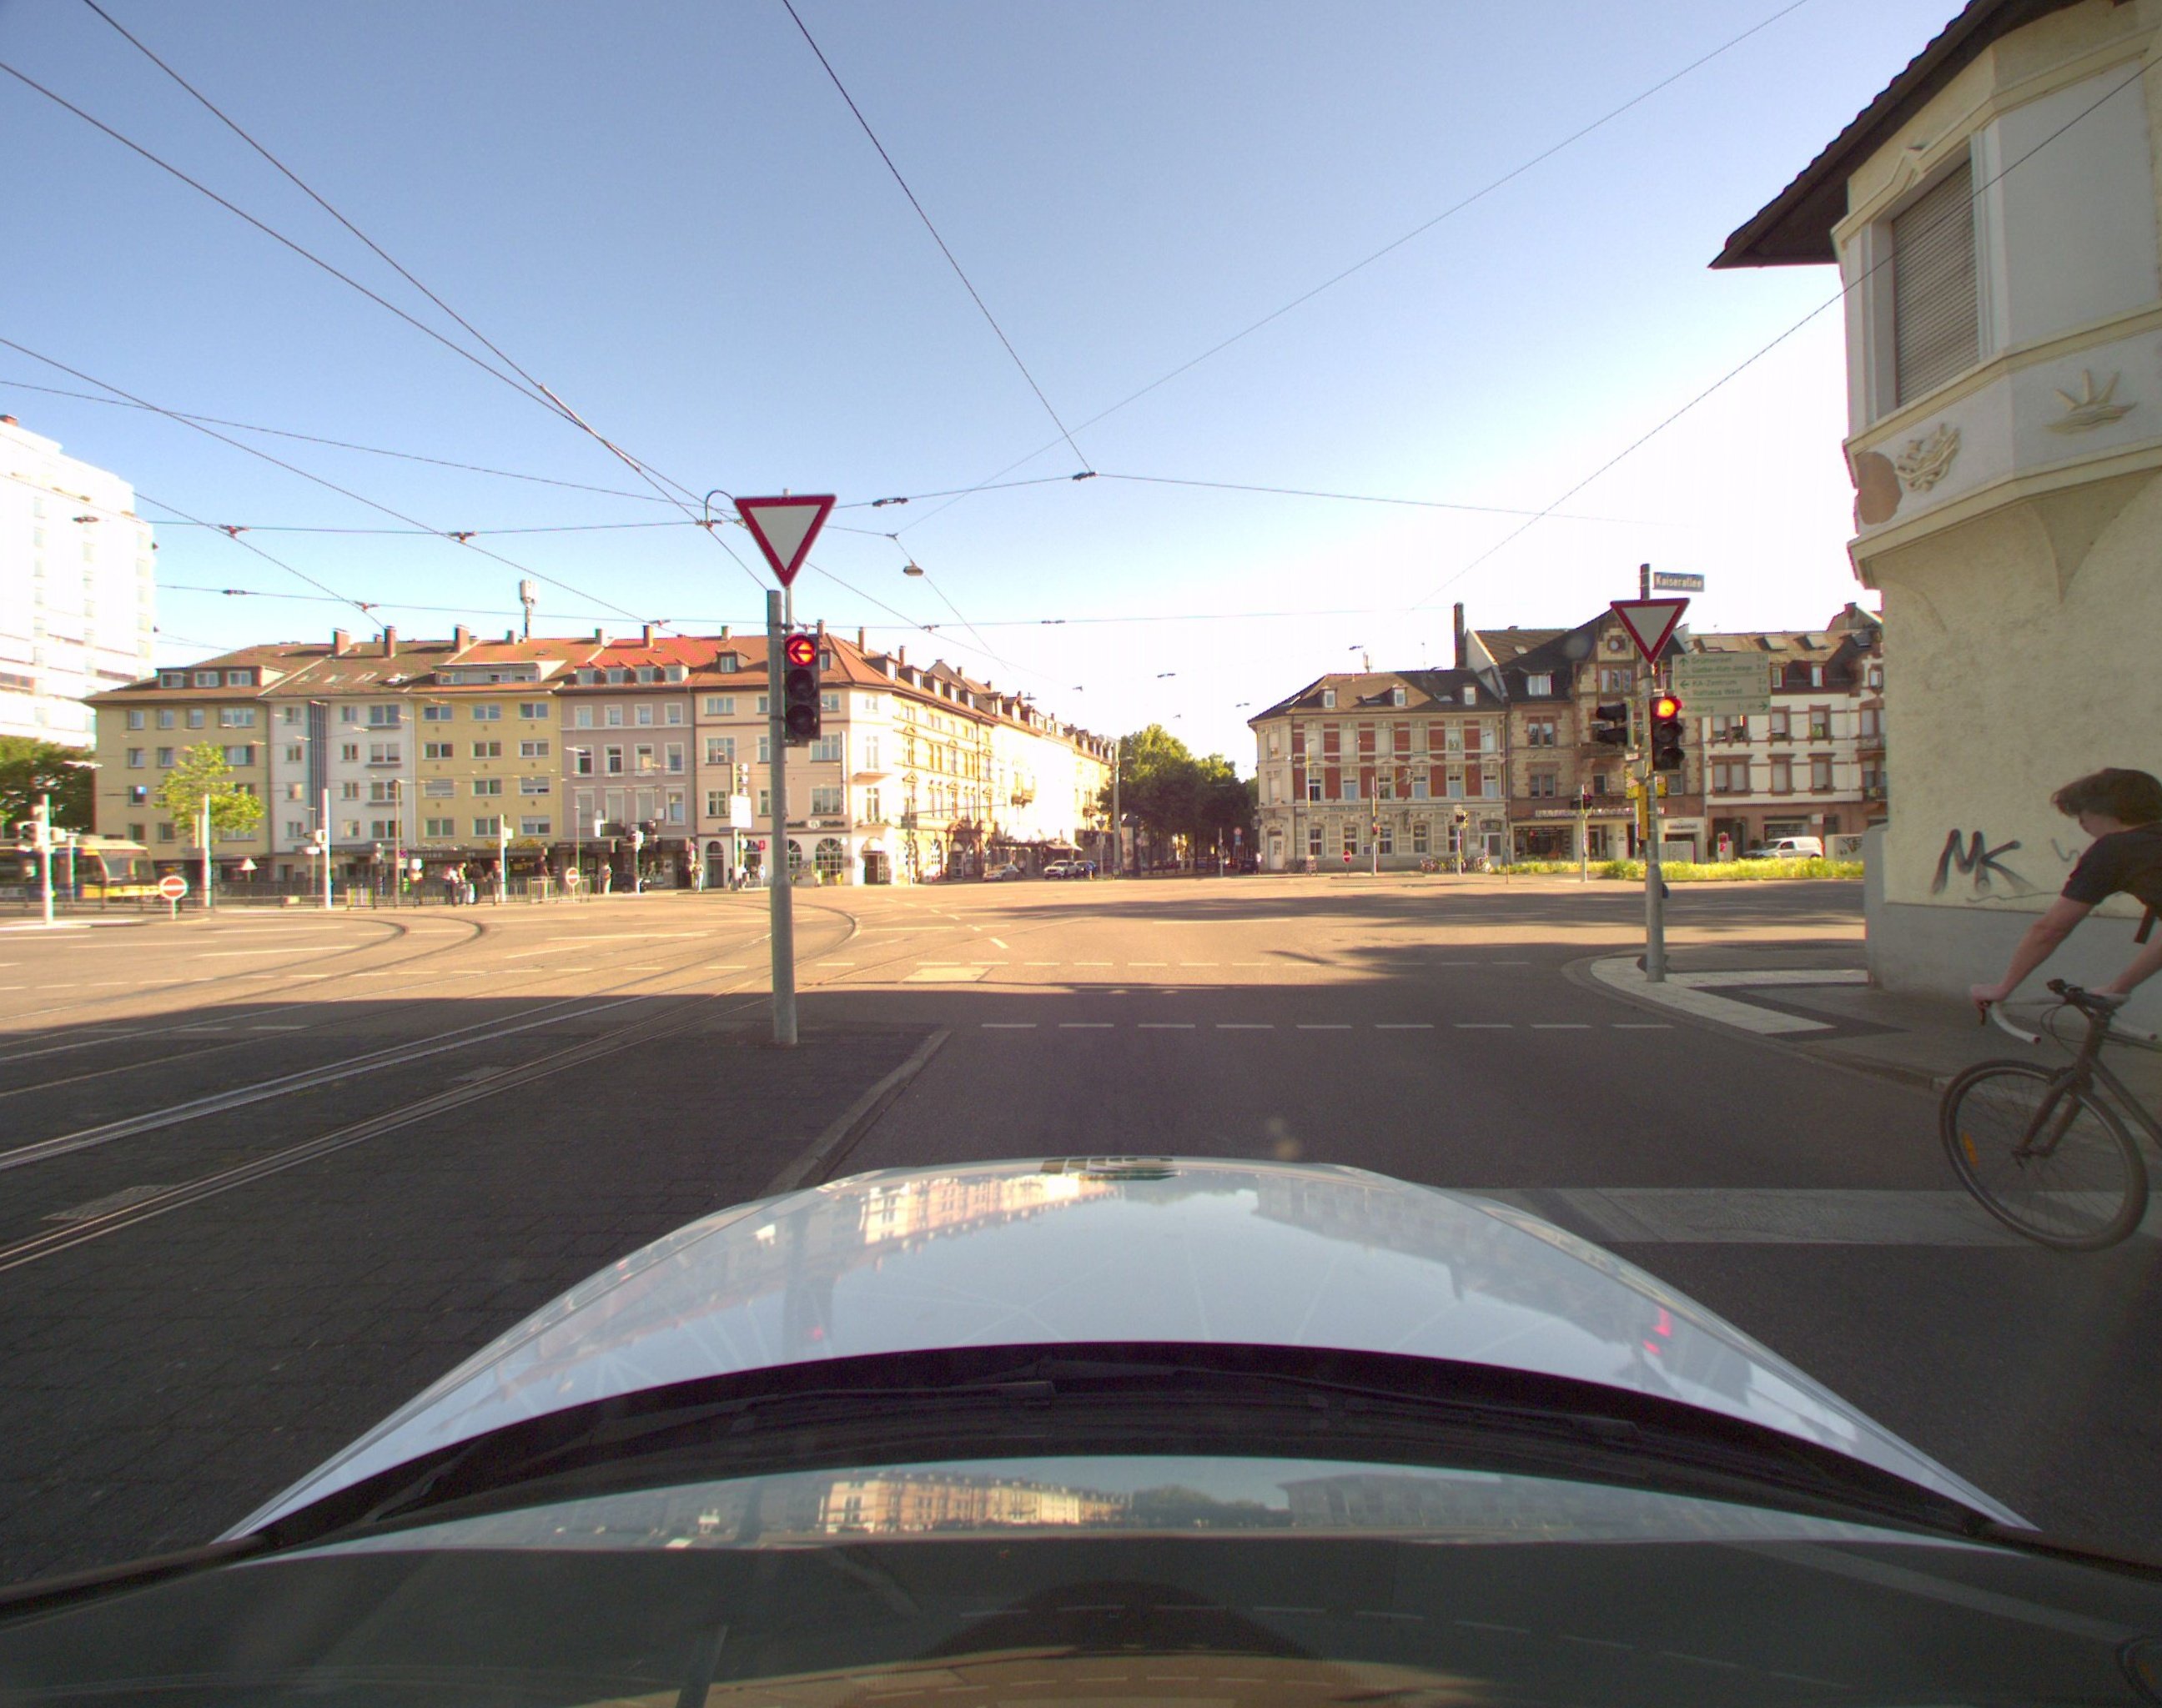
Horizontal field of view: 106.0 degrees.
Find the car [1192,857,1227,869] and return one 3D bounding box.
[{"bbox_3d":[18.146,1.309,114.999,4.335,1.612,2.012,-2,0,28],"label":"car"}]

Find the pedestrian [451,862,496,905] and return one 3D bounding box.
[{"bbox_3d":[-23.094,1.120,30.980,0.997,1.598,0.946,-2,0,22],"label":"pedestrian"}]

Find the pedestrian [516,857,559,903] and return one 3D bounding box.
[{"bbox_3d":[-21.619,1.032,32.419,1.001,1.775,0.943,-2,0,5],"label":"pedestrian"}]

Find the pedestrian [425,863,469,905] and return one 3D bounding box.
[{"bbox_3d":[-25.299,1.184,32.514,0.998,1.598,0.946,-2,0,18],"label":"pedestrian"}]

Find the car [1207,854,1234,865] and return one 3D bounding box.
[{"bbox_3d":[22.843,0.971,133.298,3.948,1.706,2.013,-2,0,32],"label":"car"}]

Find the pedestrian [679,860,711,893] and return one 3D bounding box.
[{"bbox_3d":[-20.123,1.155,42.462,1.076,1.685,1.104,-2,0,1],"label":"pedestrian"}]

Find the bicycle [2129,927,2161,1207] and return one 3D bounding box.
[{"bbox_3d":[4.537,0.856,2.442,0.516,1.116,1.815,-2,0,4],"label":"bicycle"}]

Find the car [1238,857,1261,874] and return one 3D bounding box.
[{"bbox_3d":[17.023,1.140,82.212,1.978,1.585,4.017,-2,0,16],"label":"car"}]

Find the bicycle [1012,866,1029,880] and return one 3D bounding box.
[{"bbox_3d":[-4.810,1.513,65.293,0.675,1.066,2.133,-2,0,14],"label":"bicycle"}]

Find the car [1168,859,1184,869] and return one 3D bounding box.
[{"bbox_3d":[15.843,1.722,136.163,1.750,1.549,4.411,-2,0,18],"label":"car"}]

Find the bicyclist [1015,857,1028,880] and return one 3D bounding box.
[{"bbox_3d":[-4.806,1.133,65.336,0.674,1.820,1.075,-2,0,14],"label":"bicyclist"}]

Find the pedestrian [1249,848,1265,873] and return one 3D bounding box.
[{"bbox_3d":[12.279,0.458,56.832,1.040,1.744,0.810,-1,0,8],"label":"pedestrian"}]

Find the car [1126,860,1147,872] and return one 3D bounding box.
[{"bbox_3d":[7.544,1.670,110.977,1.978,1.486,4.017,-1,0,16],"label":"car"}]

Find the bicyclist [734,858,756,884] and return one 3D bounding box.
[{"bbox_3d":[-23.519,1.184,56.959,1.161,1.775,0.748,-1,0,0],"label":"bicyclist"}]

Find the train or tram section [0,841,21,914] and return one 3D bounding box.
[{"bbox_3d":[-55.935,1.228,38.354,8.402,3.500,2.825,-1,0,1],"label":"train or tram section"}]

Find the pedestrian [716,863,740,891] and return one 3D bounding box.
[{"bbox_3d":[-22.998,1.507,53.101,0.998,1.775,0.945,-2,0,16],"label":"pedestrian"}]

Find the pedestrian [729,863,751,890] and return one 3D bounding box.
[{"bbox_3d":[-23.013,1.479,54.977,0.933,1.775,1.011,-2,0,6],"label":"pedestrian"}]

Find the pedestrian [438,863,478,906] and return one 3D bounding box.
[{"bbox_3d":[-24.201,1.169,31.619,0.996,1.598,0.947,-2,0,34],"label":"pedestrian"}]

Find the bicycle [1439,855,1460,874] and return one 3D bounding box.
[{"bbox_3d":[23.864,0.670,52.780,0.615,1.143,2.178,-2,0,7],"label":"bicycle"}]

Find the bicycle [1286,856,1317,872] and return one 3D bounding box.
[{"bbox_3d":[15.506,0.722,57.186,2.081,1.124,0.366,0,-1,-3],"label":"bicycle"}]

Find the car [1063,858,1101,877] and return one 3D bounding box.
[{"bbox_3d":[0.124,1.219,74.013,1.977,1.612,4.413,-2,0,20],"label":"car"}]

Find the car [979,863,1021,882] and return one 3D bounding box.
[{"bbox_3d":[-6.676,1.523,67.378,1.883,1.455,4.020,-2,0,20],"label":"car"}]

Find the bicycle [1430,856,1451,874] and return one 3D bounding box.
[{"bbox_3d":[23.284,0.690,52.833,0.615,1.143,2.178,-2,0,7],"label":"bicycle"}]

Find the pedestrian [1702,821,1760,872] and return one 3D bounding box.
[{"bbox_3d":[27.118,-0.309,33.995,1.314,2.044,1.307,-2,0,1],"label":"pedestrian"}]

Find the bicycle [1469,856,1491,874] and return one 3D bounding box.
[{"bbox_3d":[25.761,0.687,52.595,0.606,1.136,2.139,-2,0,7],"label":"bicycle"}]

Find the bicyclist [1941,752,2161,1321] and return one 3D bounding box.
[{"bbox_3d":[3.602,0.560,2.590,0.559,1.754,1.102,-2,0,4],"label":"bicyclist"}]

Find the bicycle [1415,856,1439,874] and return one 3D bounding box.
[{"bbox_3d":[22.506,0.699,52.982,0.802,1.143,2.178,-2,0,7],"label":"bicycle"}]

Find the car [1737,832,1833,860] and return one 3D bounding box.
[{"bbox_3d":[45.364,-0.485,52.549,4.317,1.640,2.152,-2,0,1],"label":"car"}]

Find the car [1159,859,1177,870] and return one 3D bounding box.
[{"bbox_3d":[13.924,1.702,130.329,1.822,1.552,4.412,-2,0,19],"label":"car"}]

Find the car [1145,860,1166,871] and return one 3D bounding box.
[{"bbox_3d":[11.266,1.733,122.597,1.977,1.612,4.413,-2,0,20],"label":"car"}]

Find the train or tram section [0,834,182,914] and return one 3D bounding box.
[{"bbox_3d":[-47.846,0.951,38.258,7.911,3.500,2.823,-1,0,0],"label":"train or tram section"}]

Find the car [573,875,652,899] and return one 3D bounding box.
[{"bbox_3d":[-30.614,2.145,53.335,3.974,1.453,2.000,-1,0,-1],"label":"car"}]

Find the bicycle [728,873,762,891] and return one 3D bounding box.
[{"bbox_3d":[-23.540,1.936,57.079,2.083,1.181,0.631,-1,0,1],"label":"bicycle"}]

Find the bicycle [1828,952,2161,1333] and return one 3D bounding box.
[{"bbox_3d":[3.617,0.947,2.667,0.642,1.010,1.930,-2,0,4],"label":"bicycle"}]

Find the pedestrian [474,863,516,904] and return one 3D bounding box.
[{"bbox_3d":[-23.235,1.167,32.303,0.997,1.598,0.946,-2,0,22],"label":"pedestrian"}]

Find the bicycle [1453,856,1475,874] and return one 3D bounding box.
[{"bbox_3d":[24.784,0.708,52.685,0.615,1.143,2.178,-2,0,7],"label":"bicycle"}]

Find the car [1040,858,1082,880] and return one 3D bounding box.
[{"bbox_3d":[-1.601,1.252,67.536,1.977,1.684,4.413,-2,0,20],"label":"car"}]
